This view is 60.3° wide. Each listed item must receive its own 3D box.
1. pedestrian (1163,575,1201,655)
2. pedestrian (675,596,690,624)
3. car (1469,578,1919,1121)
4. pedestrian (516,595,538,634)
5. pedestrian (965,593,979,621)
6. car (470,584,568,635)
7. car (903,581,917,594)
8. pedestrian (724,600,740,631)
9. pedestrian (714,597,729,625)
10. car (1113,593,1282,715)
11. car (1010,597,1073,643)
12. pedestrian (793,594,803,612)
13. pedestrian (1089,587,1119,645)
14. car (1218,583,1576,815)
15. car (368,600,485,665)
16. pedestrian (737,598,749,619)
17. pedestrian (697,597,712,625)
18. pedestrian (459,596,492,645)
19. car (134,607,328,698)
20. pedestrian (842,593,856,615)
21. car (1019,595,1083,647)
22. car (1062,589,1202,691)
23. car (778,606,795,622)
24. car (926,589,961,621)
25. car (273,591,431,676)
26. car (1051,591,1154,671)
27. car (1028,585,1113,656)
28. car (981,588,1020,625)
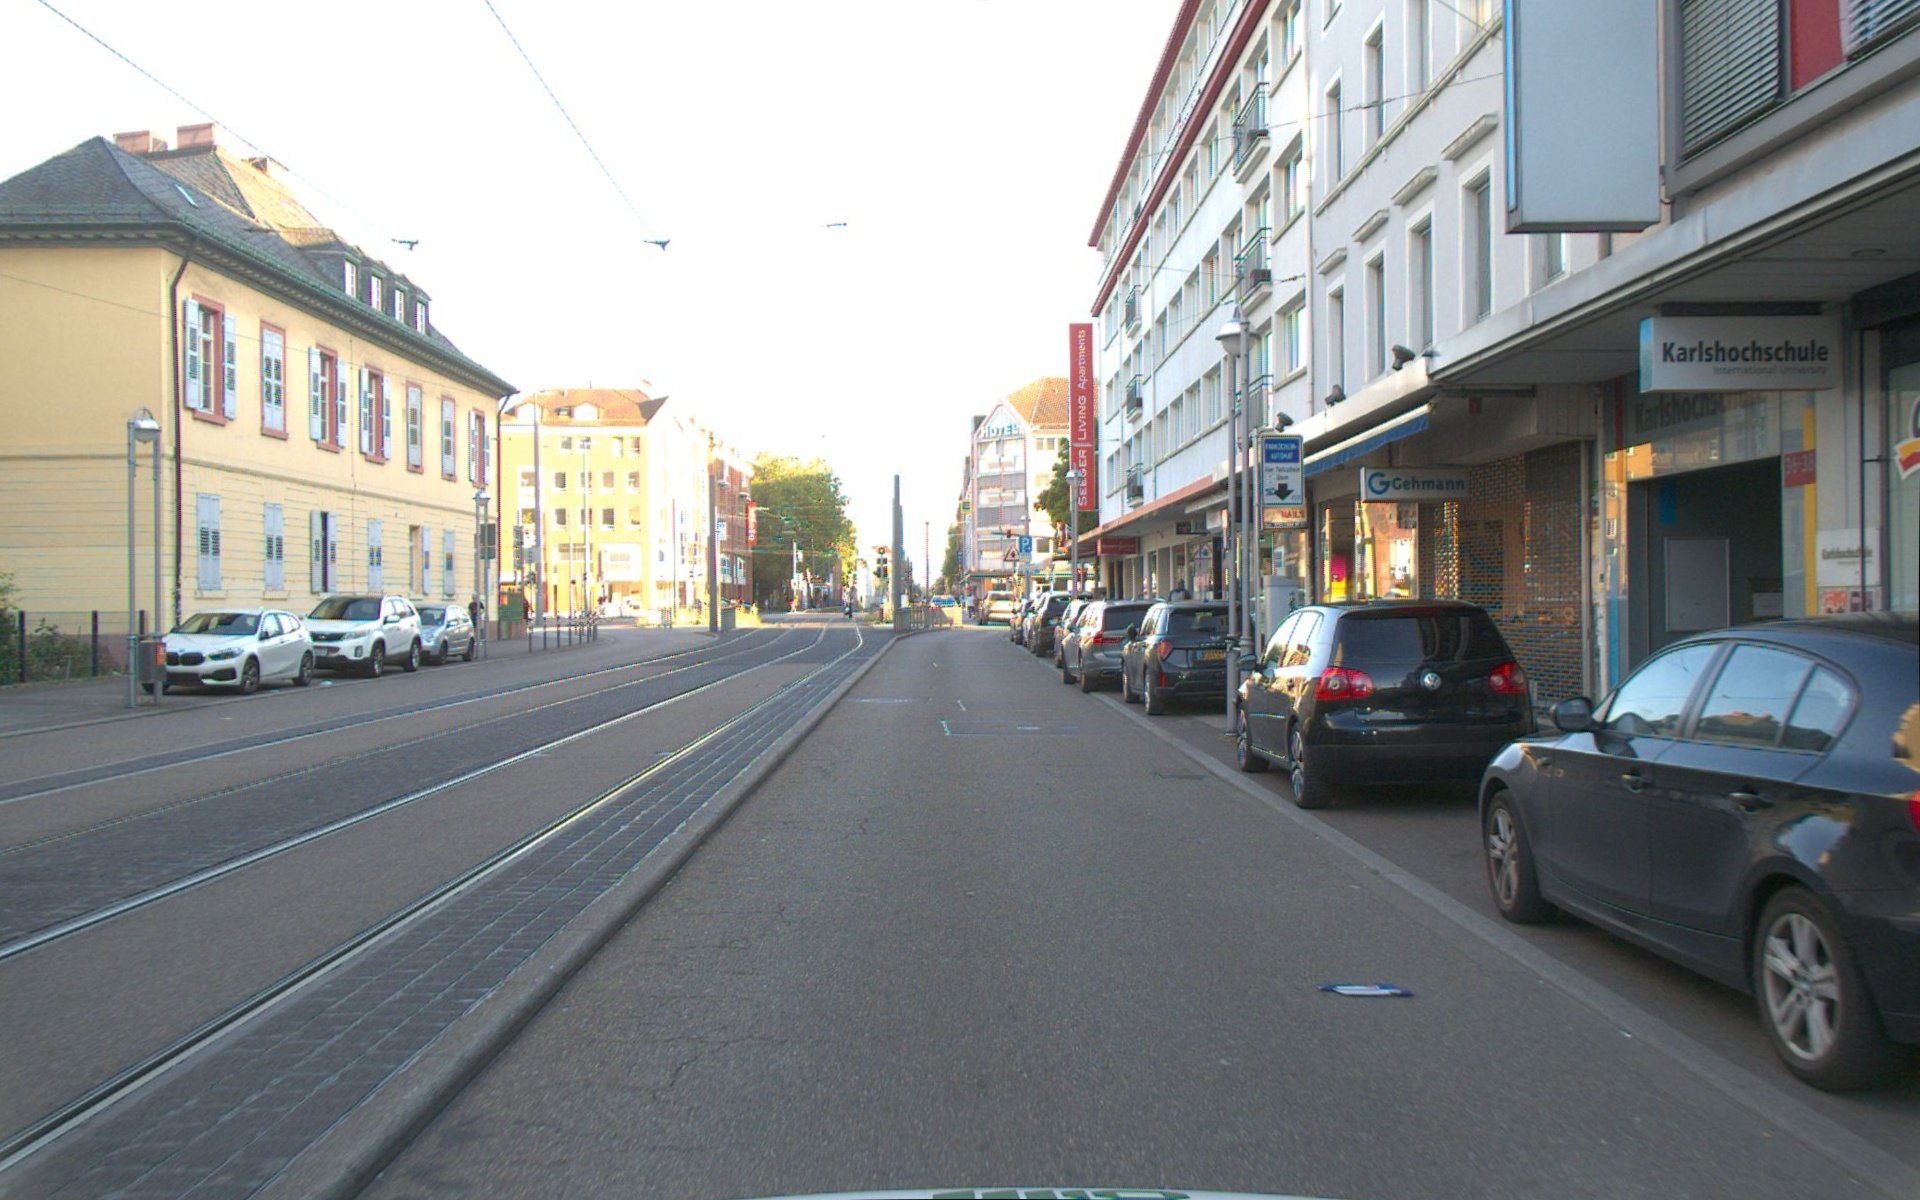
[{"bbox_3d":[5.435,0.366,40.533,0.759,1.913,0.934,-1,-1,-3],"label":"pedestrian"},{"bbox_3d":[-13.906,0.491,82.928,0.650,1.399,0.651,-1,0,-4],"label":"pedestrian"},{"bbox_3d":[3.428,0.711,6.383,1.621,1.488,4.022,1,0,-1],"label":"car"},{"bbox_3d":[-17.685,0.594,67.561,0.705,1.563,0.718,-1,0,-5],"label":"pedestrian"},{"bbox_3d":[0.746,0.416,103.711,0.856,1.735,0.701,1,-1,2],"label":"pedestrian"},{"bbox_3d":[-18.690,0.383,70.085,3.924,2.049,1.990,-1,0,-17],"label":"car"},{"bbox_3d":[-7.433,-1.840,245.609,1.953,1.934,4.000,1,0,0],"label":"car"},{"bbox_3d":[-10.442,0.717,75.803,0.650,1.399,0.651,1,-1,-4],"label":"pedestrian"},{"bbox_3d":[-12.031,0.544,83.368,0.650,1.399,0.651,-1,0,-4],"label":"pedestrian"},{"bbox_3d":[3.183,0.694,22.834,1.691,1.507,3.999,1,0,-1],"label":"car"},{"bbox_3d":[2.650,0.644,54.701,1.753,1.437,4.686,1,0,-1],"label":"car"},{"bbox_3d":[-15.420,0.318,157.363,0.788,1.693,0.703,1,-1,3],"label":"pedestrian"},{"bbox_3d":[4.067,0.445,46.807,0.718,1.601,0.966,-1,0,-1],"label":"pedestrian"},{"bbox_3d":[3.282,0.684,13.244,1.729,1.540,4.071,1,0,-1],"label":"car"},{"bbox_3d":[-13.415,0.789,41.812,1.713,1.500,3.999,1,0,-1],"label":"car"},{"bbox_3d":[-22.049,0.869,168.034,1.071,2.049,1.162,1,-1,-3],"label":"pedestrian"},{"bbox_3d":[-12.825,0.541,83.041,0.650,1.399,0.651,0,0,-4],"label":"pedestrian"},{"bbox_3d":[-15.700,0.663,53.623,0.783,1.569,0.877,1,-1,1],"label":"pedestrian"},{"bbox_3d":[-13.100,0.893,30.013,1.686,1.478,4.282,1,0,-1],"label":"car"},{"bbox_3d":[-7.125,0.263,106.113,0.885,1.399,0.853,-1,0,-4],"label":"pedestrian"},{"bbox_3d":[2.689,0.613,49.570,1.617,1.445,4.190,1,0,-1],"label":"car"},{"bbox_3d":[2.858,0.644,28.456,1.755,1.560,4.855,1,0,-2],"label":"car"},{"bbox_3d":[-22.764,1.774,217.273,1.915,2.049,3.999,1,0,-1],"label":"car"},{"bbox_3d":[-0.971,0.293,98.185,1.953,1.623,3.999,-5,-2,-1],"label":"car"},{"bbox_3d":[-13.102,0.678,35.958,1.849,1.690,4.758,1,0,-3],"label":"car"},{"bbox_3d":[2.947,0.611,35.024,1.745,1.549,4.356,1,0,-1],"label":"car"},{"bbox_3d":[2.852,0.527,43.367,1.818,1.730,4.417,1,0,-1],"label":"car"},{"bbox_3d":[1.977,0.331,81.888,1.797,1.665,4.090,-2,-1,0],"label":"car"}]
